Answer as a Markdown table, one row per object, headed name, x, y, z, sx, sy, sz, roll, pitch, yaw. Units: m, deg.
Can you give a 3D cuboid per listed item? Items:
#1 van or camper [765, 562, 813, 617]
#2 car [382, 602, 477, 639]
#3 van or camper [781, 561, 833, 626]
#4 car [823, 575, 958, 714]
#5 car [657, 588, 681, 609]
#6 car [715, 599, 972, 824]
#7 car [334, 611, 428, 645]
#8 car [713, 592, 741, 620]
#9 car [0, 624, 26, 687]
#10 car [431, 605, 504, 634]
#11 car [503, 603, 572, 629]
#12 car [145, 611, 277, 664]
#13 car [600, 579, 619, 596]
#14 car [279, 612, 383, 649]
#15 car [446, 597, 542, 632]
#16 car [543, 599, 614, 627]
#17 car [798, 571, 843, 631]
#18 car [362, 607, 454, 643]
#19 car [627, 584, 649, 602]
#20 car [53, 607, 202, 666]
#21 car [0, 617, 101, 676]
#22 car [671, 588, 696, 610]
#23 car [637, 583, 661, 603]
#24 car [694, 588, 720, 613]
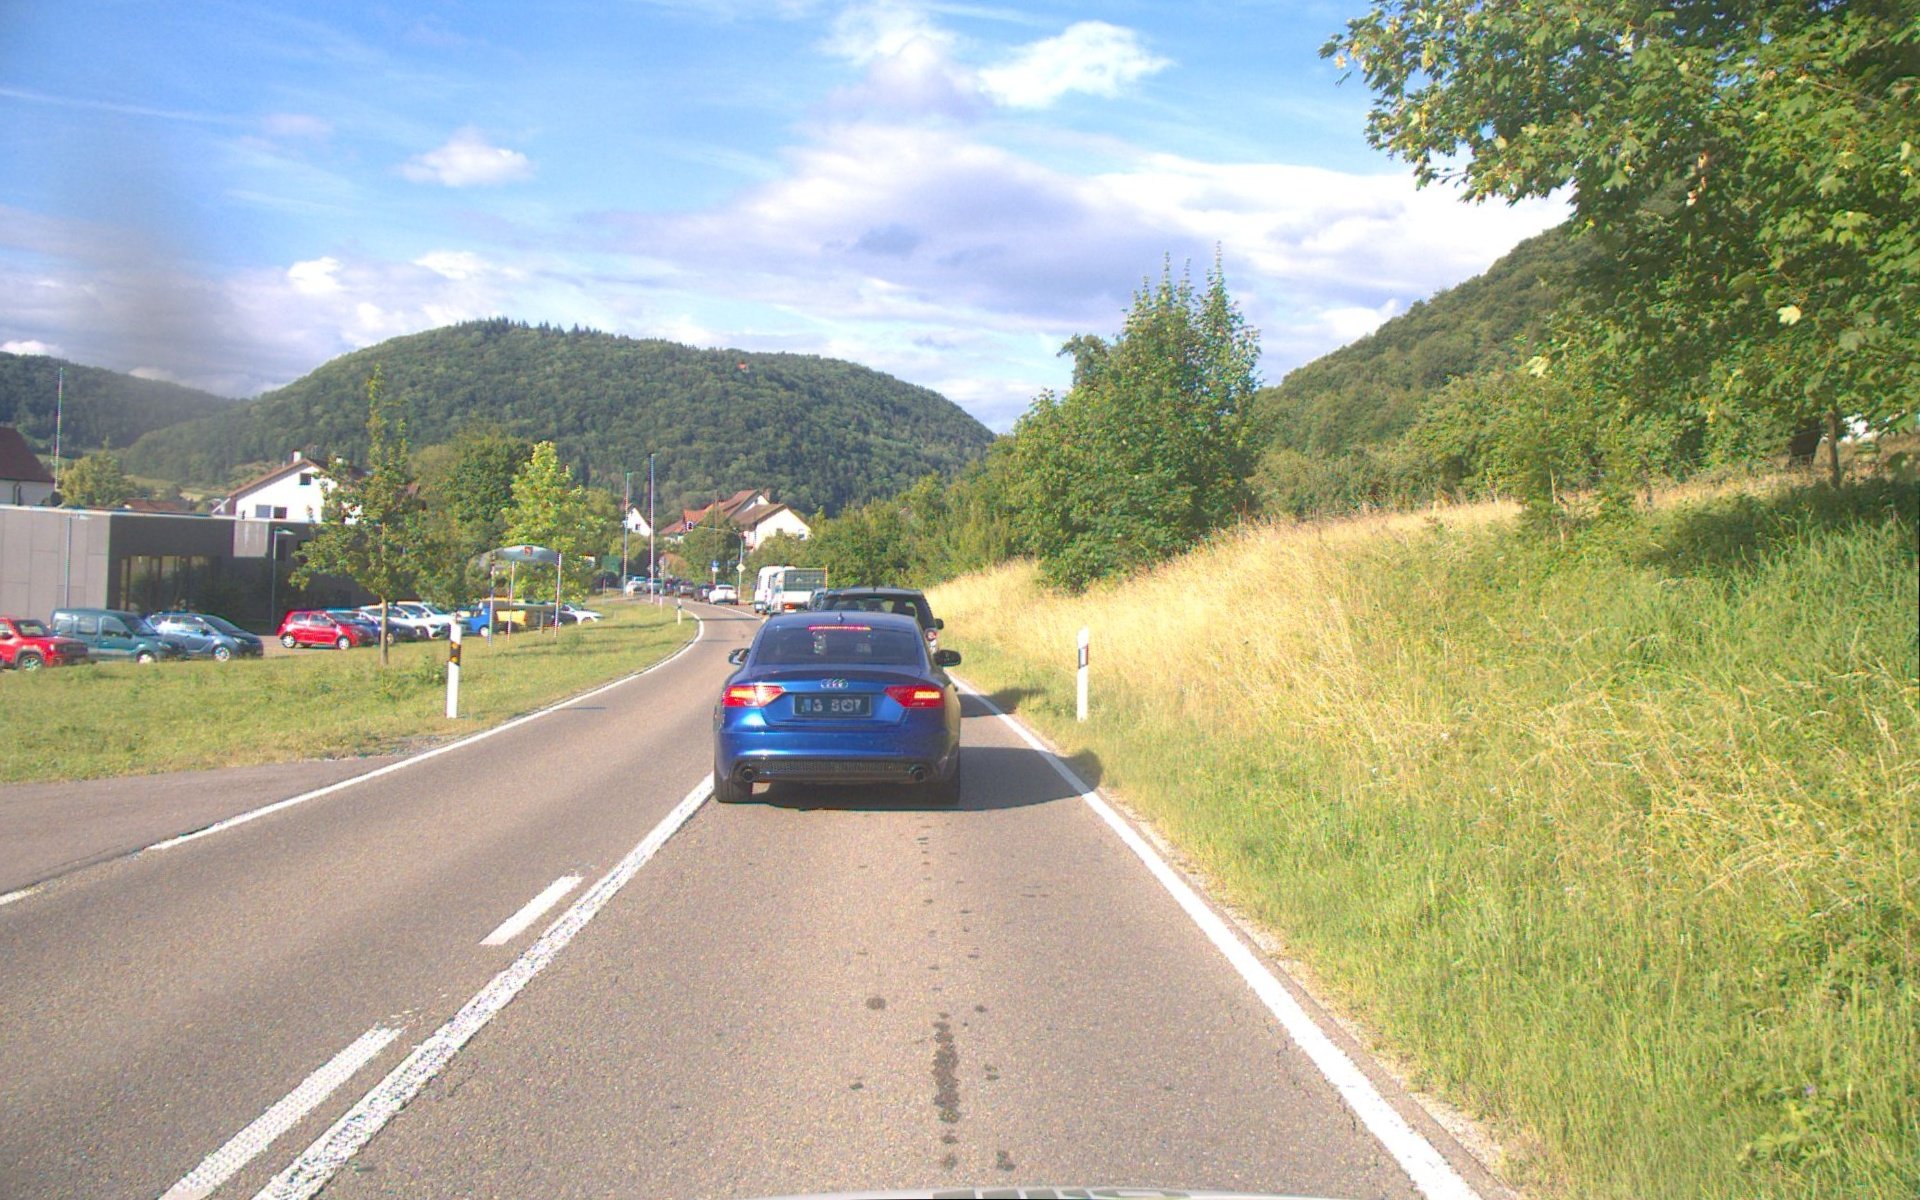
| name | x | y | z | sx | sy | sz | roll | pitch | yaw |
| --- | --- | --- | --- | --- | --- | --- | --- | --- | --- |
| van or camper | -9.087 | -0.535 | 87.547 | 2.238 | 2.761 | 5.755 | -1 | 0 | -9 |
| car | -25.219 | 0.976 | 78.660 | 3.991 | 1.702 | 1.597 | 0 | 1 | 4 |
| van or camper | -6.369 | -0.265 | 68.464 | 2.013 | 2.549 | 5.803 | -1 | 0 | -6 |
| car | -0.948 | 0.535 | 21.940 | 1.613 | 1.653 | 3.514 | 2 | 0 | -3 |
| car | -27.532 | -0.111 | 156.338 | 1.652 | 1.958 | 3.977 | -1 | 0 | -20 |
| car | -0.906 | 0.740 | 12.824 | 1.708 | 1.476 | 3.514 | 0 | 0 | -4 |
| car | -25.225 | 1.225 | 72.108 | 3.548 | 1.430 | 1.597 | 0 | 0 | 4 |
| car | -17.089 | 0.434 | 121.119 | 1.631 | 1.958 | 3.986 | -1 | 0 | -13 |
| car | -27.542 | 1.479 | 43.787 | 4.543 | 1.616 | 2.001 | 0 | 0 | 3 |
| car | -25.186 | 0.990 | 84.623 | 3.302 | 1.397 | 1.659 | 0 | 0 | -4 |
| car | -24.868 | 0.925 | 97.458 | 3.634 | 1.464 | 1.510 | 0 | 0 | 4 |
| car | -25.752 | 1.282 | 56.913 | 3.738 | 1.752 | 1.733 | 0 | 0 | 3 |
| car | -41.022 | -1.485 | 193.663 | 1.653 | 1.958 | 3.975 | 0 | 0 | -21 |
| car | -25.478 | 1.233 | 67.056 | 3.548 | 1.469 | 1.649 | 0 | 0 | 4 |
| car | -24.539 | 0.755 | 87.194 | 4.457 | 1.846 | 1.842 | 0 | 0 | 4 |
| car | -23.476 | 0.793 | 101.771 | 3.951 | 1.689 | 1.656 | 0 | 0 | 4 |
| car | -4.938 | 0.020 | 58.338 | 1.537 | 2.049 | 3.995 | -1 | 0 | -6 |
| car | -25.091 | 1.117 | 75.285 | 3.589 | 1.519 | 1.598 | 0 | 3 | 4 |
| car | -34.322 | -0.743 | 176.193 | 1.653 | 1.958 | 3.974 | -1 | 0 | -22 |
| car | -26.298 | 1.137 | 52.337 | 3.782 | 1.752 | 1.756 | 1 | 0 | 1 |
| car | -26.612 | 1.308 | 46.648 | 3.837 | 1.606 | 1.756 | 0 | 0 | 3 |
| car | -24.620 | -0.105 | 147.368 | 1.634 | 1.958 | 3.979 | -1 | 0 | -18 |
| car | -31.401 | -0.676 | 166.994 | 1.653 | 1.958 | 3.975 | -1 | 0 | -21 |
| car | -20.295 | 0.072 | 132.617 | 1.632 | 1.958 | 3.983 | -1 | 0 | -15 |
